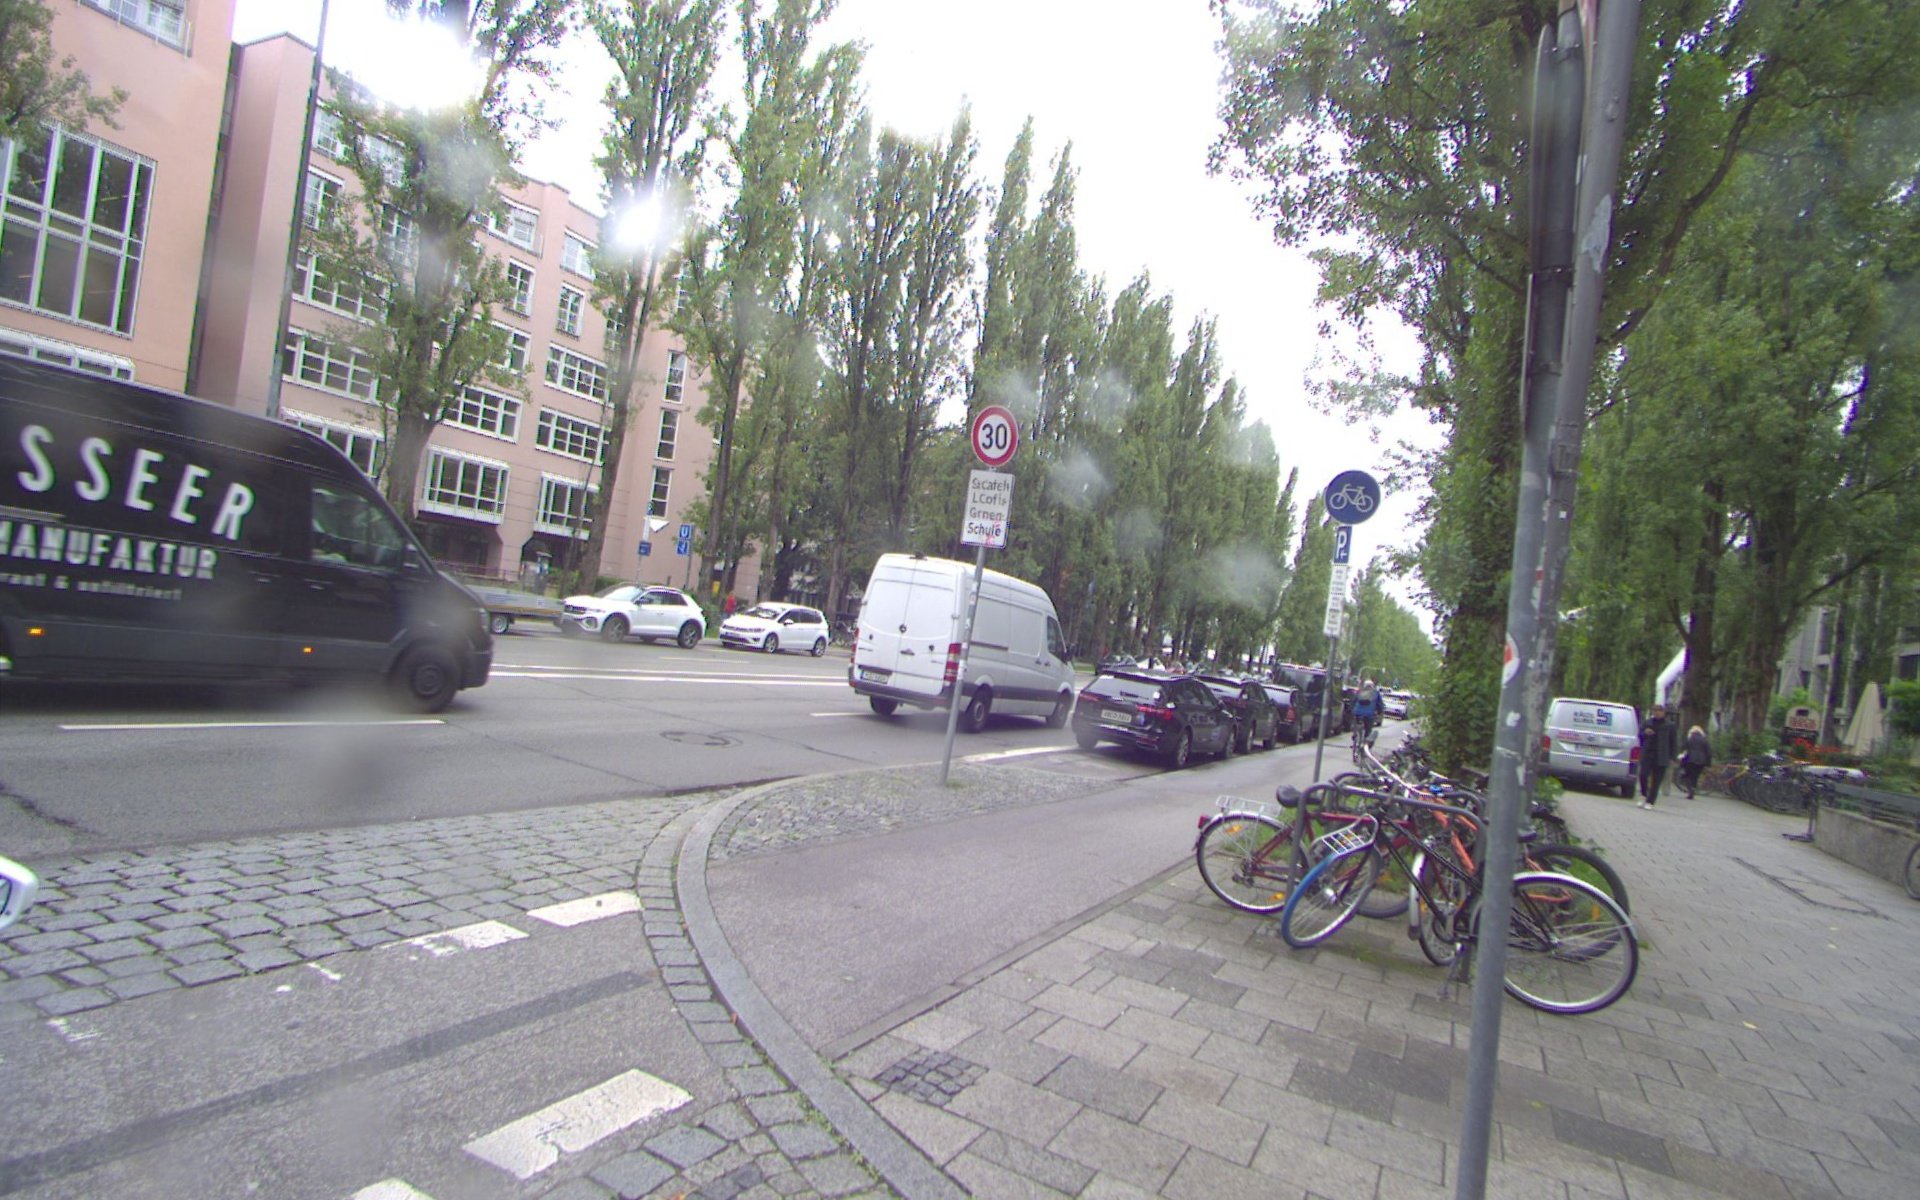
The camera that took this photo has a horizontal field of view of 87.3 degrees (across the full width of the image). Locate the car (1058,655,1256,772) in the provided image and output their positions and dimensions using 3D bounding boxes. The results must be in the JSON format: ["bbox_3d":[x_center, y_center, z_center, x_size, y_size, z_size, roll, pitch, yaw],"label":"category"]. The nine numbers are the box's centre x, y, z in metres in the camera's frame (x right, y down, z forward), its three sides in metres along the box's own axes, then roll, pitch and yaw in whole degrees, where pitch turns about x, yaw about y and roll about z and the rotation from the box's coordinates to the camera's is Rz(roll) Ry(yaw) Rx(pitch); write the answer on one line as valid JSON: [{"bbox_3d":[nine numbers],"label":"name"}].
[{"bbox_3d":[3.496,1.909,17.102,1.727,1.444,4.442,9,-1,31],"label":"car"}]

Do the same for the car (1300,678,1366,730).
[{"bbox_3d":[13.879,3.846,37.315,1.717,1.544,3.950,9,-1,26],"label":"car"}]

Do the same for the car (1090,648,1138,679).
[{"bbox_3d":[9.508,3.905,62.045,1.913,1.598,3.608,8,0,23],"label":"car"}]

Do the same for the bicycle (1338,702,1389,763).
[{"bbox_3d":[8.698,2.841,21.631,0.707,1.160,1.899,4,-4,29],"label":"bicycle"}]

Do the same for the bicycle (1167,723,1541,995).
[{"bbox_3d":[2.235,1.414,5.844,1.844,1.063,0.475,8,0,30],"label":"bicycle"}]

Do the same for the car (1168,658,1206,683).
[{"bbox_3d":[17.434,5.428,77.208,1.736,1.598,3.967,8,0,28],"label":"car"}]

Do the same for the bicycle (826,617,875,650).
[{"bbox_3d":[-4.746,1.437,43.560,1.954,1.138,0.675,8,0,29],"label":"bicycle"}]

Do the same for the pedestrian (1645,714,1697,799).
[{"bbox_3d":[16.501,3.613,23.379,0.738,1.824,0.841,8,0,33],"label":"pedestrian"}]

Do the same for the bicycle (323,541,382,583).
[{"bbox_3d":[-20.167,-1.266,33.400,1.954,1.138,0.675,8,0,29],"label":"bicycle"}]

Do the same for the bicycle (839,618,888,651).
[{"bbox_3d":[-4.261,1.525,44.358,1.954,1.138,0.675,8,0,29],"label":"bicycle"}]

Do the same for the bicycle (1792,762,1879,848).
[{"bbox_3d":[14.806,3.431,17.062,0.577,1.173,1.983,8,-1,29],"label":"bicycle"}]

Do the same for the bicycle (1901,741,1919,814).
[{"bbox_3d":[15.768,2.901,16.010,0.577,1.173,1.868,8,-1,29],"label":"bicycle"}]

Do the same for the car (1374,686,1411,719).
[{"bbox_3d":[26.752,6.318,62.129,1.717,1.662,3.950,9,-1,26],"label":"car"}]

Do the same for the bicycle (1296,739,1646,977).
[{"bbox_3d":[3.210,1.578,6.460,1.844,1.063,0.475,6,-1,30],"label":"bicycle"}]

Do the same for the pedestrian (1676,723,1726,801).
[{"bbox_3d":[16.862,3.670,22.911,0.687,1.625,0.832,8,0,33],"label":"pedestrian"}]

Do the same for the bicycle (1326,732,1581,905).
[{"bbox_3d":[4.165,1.797,8.567,1.804,1.050,0.512,7,-1,33],"label":"bicycle"}]

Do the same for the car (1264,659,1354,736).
[{"bbox_3d":[11.179,3.080,32.024,1.883,1.947,5.038,9,-1,26],"label":"car"}]

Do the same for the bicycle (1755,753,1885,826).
[{"bbox_3d":[19.049,4.175,22.330,1.997,1.173,0.587,8,0,30],"label":"bicycle"}]

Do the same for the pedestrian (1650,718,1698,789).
[{"bbox_3d":[21.023,4.500,29.649,0.904,1.888,1.012,8,0,33],"label":"pedestrian"}]

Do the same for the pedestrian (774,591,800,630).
[{"bbox_3d":[-8.134,0.493,47.206,0.697,1.734,0.731,8,0,29],"label":"pedestrian"}]

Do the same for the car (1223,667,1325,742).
[{"bbox_3d":[8.466,2.771,26.884,1.718,1.544,4.232,9,-1,27],"label":"car"}]

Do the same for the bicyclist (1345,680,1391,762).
[{"bbox_3d":[8.770,2.577,21.627,0.711,1.639,0.756,6,0,26],"label":"bicyclist"}]

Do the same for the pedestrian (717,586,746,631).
[{"bbox_3d":[-9.543,0.365,42.012,0.697,1.734,0.731,8,0,29],"label":"pedestrian"}]

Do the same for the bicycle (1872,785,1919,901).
[{"bbox_3d":[10.783,2.731,10.867,0.577,1.173,1.870,8,-1,19],"label":"bicycle"}]

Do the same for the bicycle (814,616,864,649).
[{"bbox_3d":[-5.175,1.381,42.870,1.954,1.138,0.675,8,0,29],"label":"bicycle"}]

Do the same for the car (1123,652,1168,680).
[{"bbox_3d":[12.402,4.412,67.064,1.736,1.598,3.967,8,0,28],"label":"car"}]

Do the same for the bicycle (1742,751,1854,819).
[{"bbox_3d":[19.857,4.366,23.884,1.837,1.174,0.587,8,1,30],"label":"bicycle"}]

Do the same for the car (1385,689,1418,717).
[{"bbox_3d":[30.414,7.080,69.273,1.717,1.564,3.950,9,-1,26],"label":"car"}]

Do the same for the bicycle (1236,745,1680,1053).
[{"bbox_3d":[2.446,1.437,5.138,1.842,1.063,0.476,7,0,23],"label":"bicycle"}]

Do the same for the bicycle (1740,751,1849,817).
[{"bbox_3d":[20.204,4.439,24.397,1.837,1.173,0.587,8,0,30],"label":"bicycle"}]

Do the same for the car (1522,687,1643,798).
[{"bbox_3d":[13.807,3.086,22.573,1.783,1.918,5.199,8,-1,29],"label":"car"}]

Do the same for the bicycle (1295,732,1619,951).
[{"bbox_3d":[3.363,1.594,6.935,1.844,1.063,0.475,6,-1,30],"label":"bicycle"}]

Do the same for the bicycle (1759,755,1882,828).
[{"bbox_3d":[18.638,4.125,21.845,1.837,1.173,0.587,8,0,30],"label":"bicycle"}]

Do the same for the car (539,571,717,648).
[{"bbox_3d":[-8.593,0.304,26.431,1.776,1.560,4.229,6,-2,30],"label":"car"}]

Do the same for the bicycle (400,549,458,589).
[{"bbox_3d":[-18.797,-1.094,35.619,2.070,1.138,0.675,8,0,29],"label":"bicycle"}]

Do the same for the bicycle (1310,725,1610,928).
[{"bbox_3d":[3.789,1.677,7.757,1.897,1.118,0.513,7,-1,28],"label":"bicycle"}]

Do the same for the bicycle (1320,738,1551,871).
[{"bbox_3d":[4.351,1.838,9.274,1.804,0.827,0.471,7,-1,33],"label":"bicycle"}]

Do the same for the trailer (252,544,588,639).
[{"bbox_3d":[-11.352,-0.086,21.795,2.363,1.213,6.033,8,-1,29],"label":"trailer"}]

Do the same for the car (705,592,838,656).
[{"bbox_3d":[-5.936,0.805,32.206,1.964,1.560,4.325,8,-1,24],"label":"car"}]

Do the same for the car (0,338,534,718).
[{"bbox_3d":[-6.903,-0.506,8.446,2.046,2.586,5.928,9,0,27],"label":"car"}]

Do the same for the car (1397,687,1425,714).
[{"bbox_3d":[35.939,8.008,80.067,1.717,1.808,3.950,9,-1,26],"label":"car"}]

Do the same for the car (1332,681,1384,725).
[{"bbox_3d":[18.323,4.714,46.240,1.717,1.610,3.950,9,-1,26],"label":"car"}]

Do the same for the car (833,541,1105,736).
[{"bbox_3d":[0.452,0.791,18.041,2.011,2.683,6.037,9,0,28],"label":"car"}]

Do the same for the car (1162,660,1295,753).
[{"bbox_3d":[5.880,2.272,21.727,1.718,1.544,3.905,9,-1,29],"label":"car"}]

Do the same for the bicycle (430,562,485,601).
[{"bbox_3d":[-18.210,-0.675,36.437,1.954,1.138,0.675,8,0,29],"label":"bicycle"}]

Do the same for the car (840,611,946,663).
[{"bbox_3d":[-2.546,1.480,39.322,1.965,1.560,4.321,8,-1,29],"label":"car"}]

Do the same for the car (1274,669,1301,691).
[{"bbox_3d":[38.286,9.315,117.443,1.965,2.145,4.994,8,0,28],"label":"car"}]

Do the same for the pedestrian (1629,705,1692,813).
[{"bbox_3d":[13.061,2.936,18.777,0.689,1.863,0.705,8,0,31],"label":"pedestrian"}]

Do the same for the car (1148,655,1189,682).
[{"bbox_3d":[14.998,4.967,72.186,1.736,1.597,3.970,8,-1,28],"label":"car"}]
